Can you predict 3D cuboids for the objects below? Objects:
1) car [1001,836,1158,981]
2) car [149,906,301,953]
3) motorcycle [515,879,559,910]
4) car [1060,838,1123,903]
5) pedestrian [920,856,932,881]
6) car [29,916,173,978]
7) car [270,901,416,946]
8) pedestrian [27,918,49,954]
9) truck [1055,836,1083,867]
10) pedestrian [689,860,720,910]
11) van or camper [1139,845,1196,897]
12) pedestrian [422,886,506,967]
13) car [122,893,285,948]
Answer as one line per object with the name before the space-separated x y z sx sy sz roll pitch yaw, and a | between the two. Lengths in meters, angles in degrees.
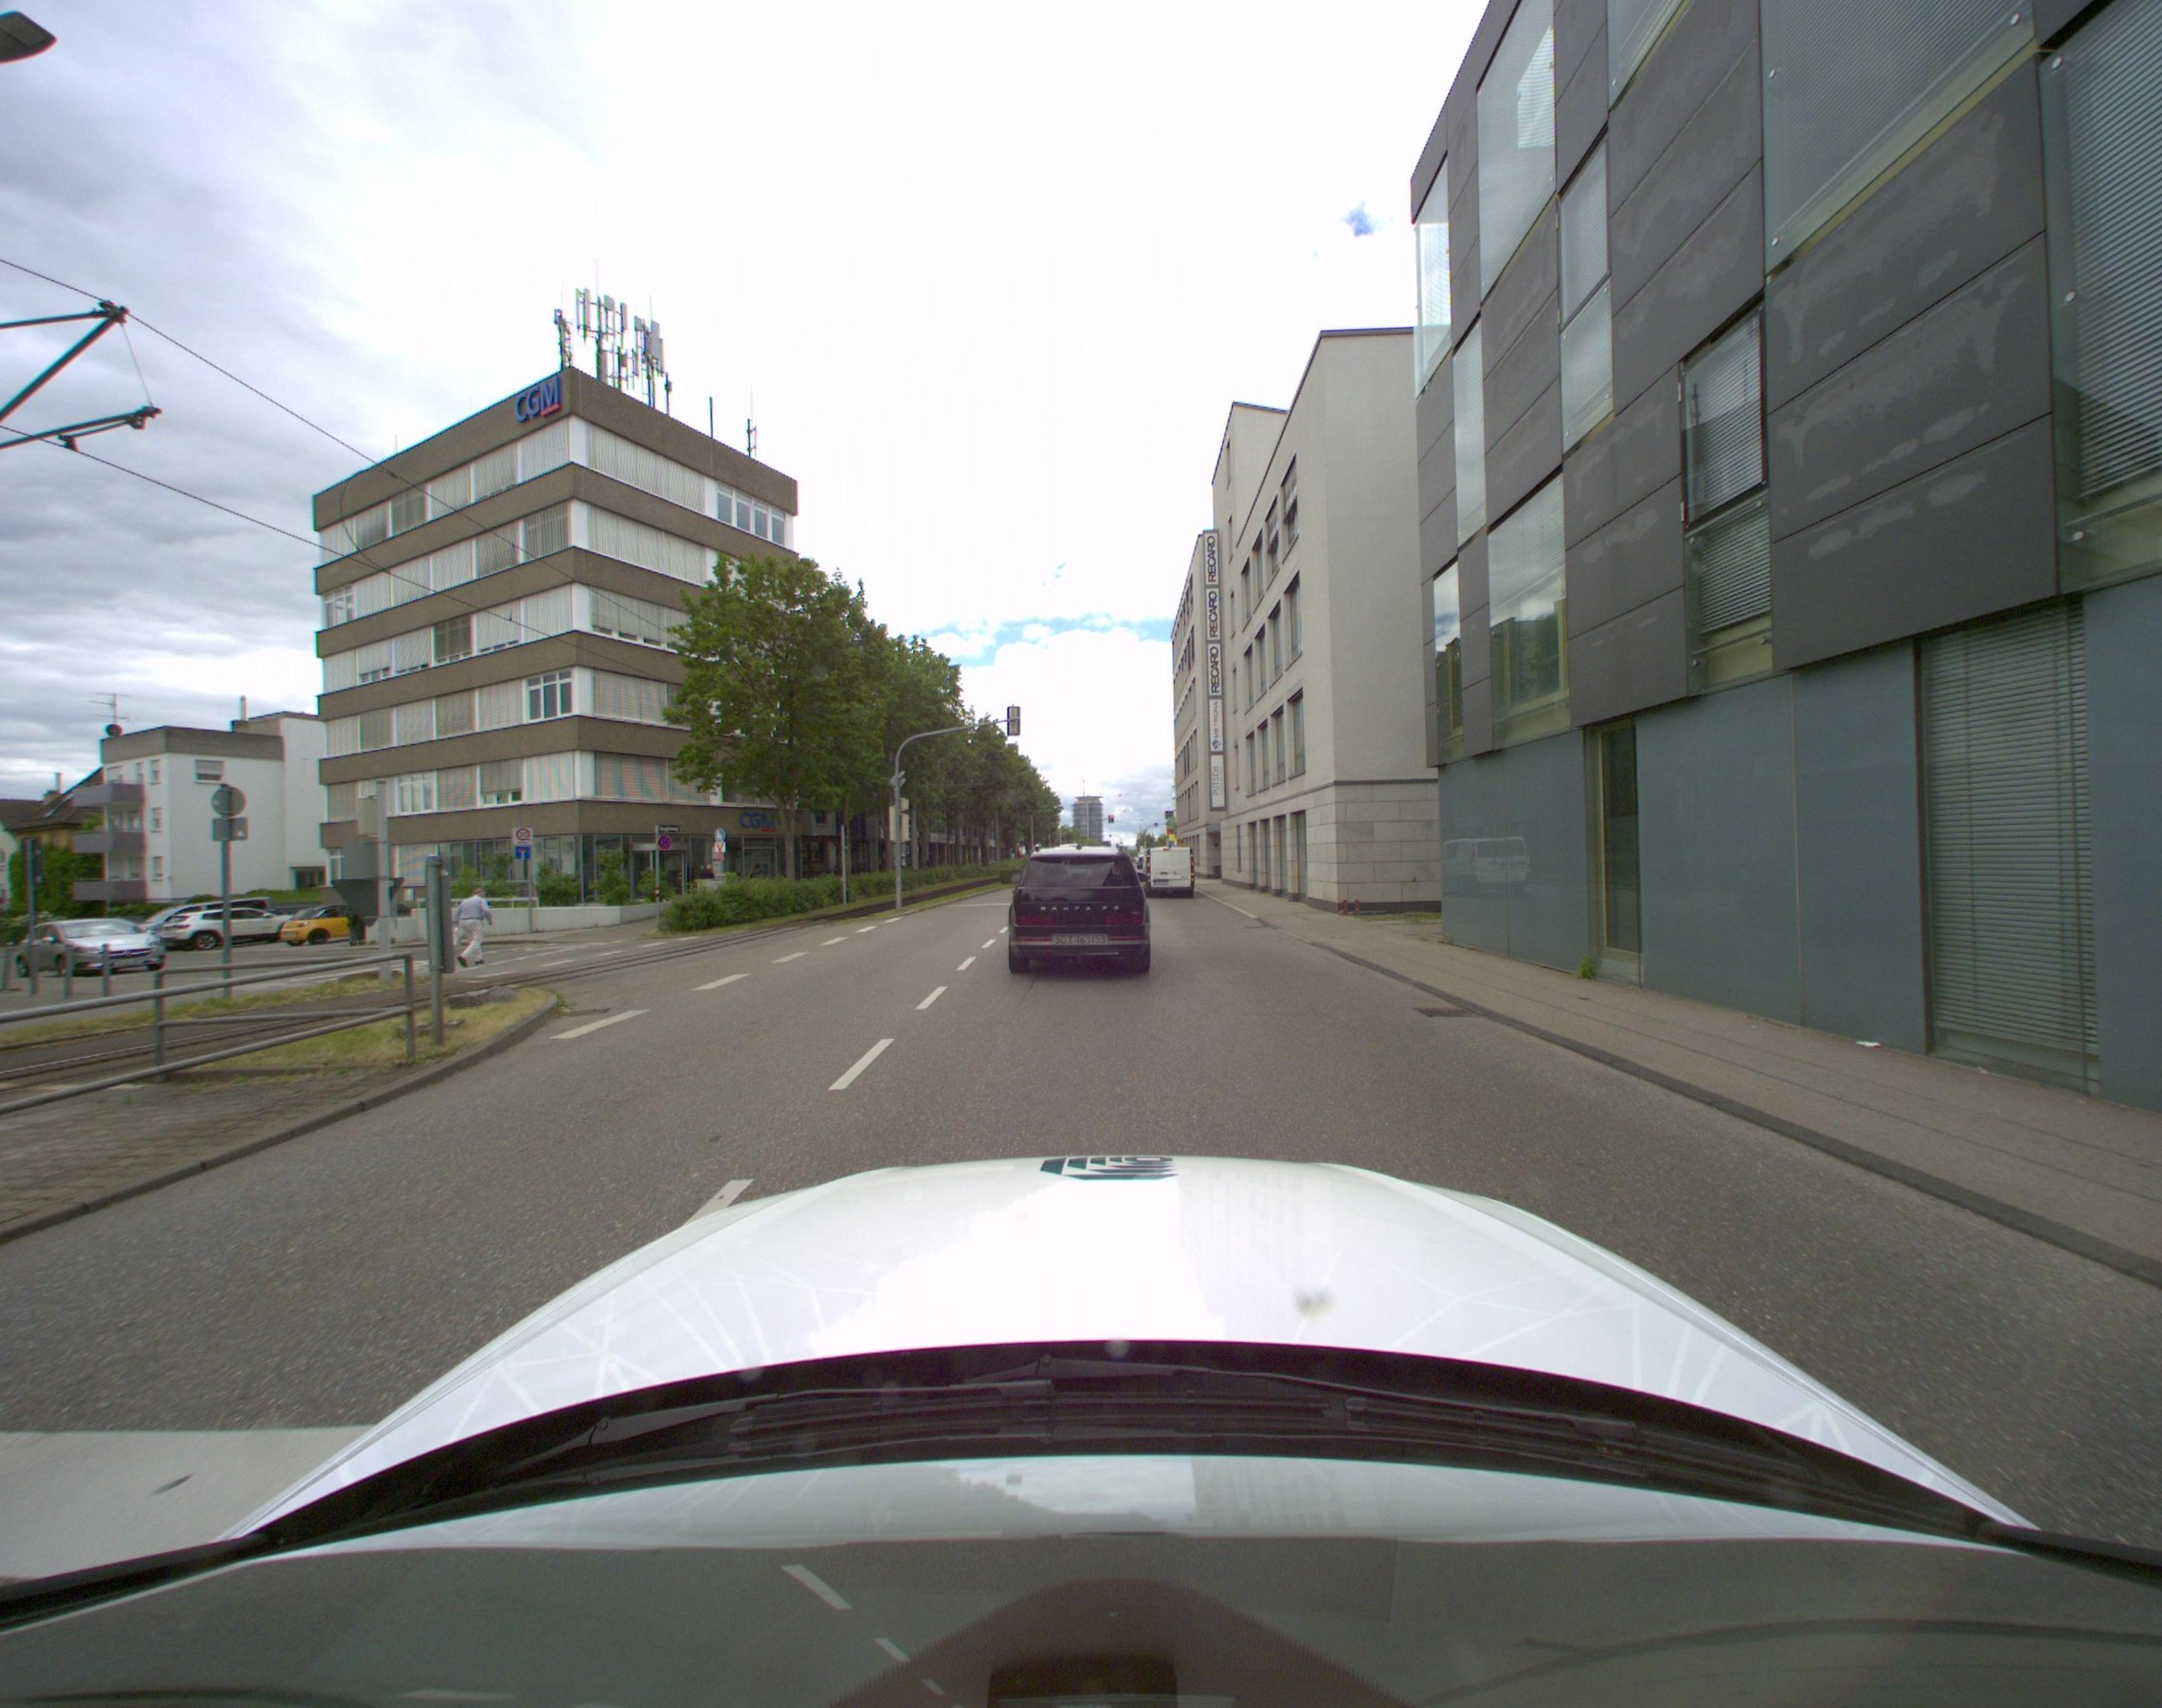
car | -0.089 0.673 12.140 1.904 1.749 4.393 0 0 -2
car | -36.312 3.155 34.694 1.832 1.574 4.022 -4 -1 23
motorcycle | -21.620 1.616 32.352 1.861 1.199 0.571 -2 0 27
car | 0.281 0.522 27.778 1.926 1.994 4.533 -2 0 -1
pedestrian | -11.895 1.105 62.592 0.672 1.908 0.622 -3 -1 2
car | -25.798 2.438 21.417 3.949 1.359 1.652 -4 -1 29
car | -30.002 2.802 33.240 1.710 1.425 4.022 -4 -1 23
pedestrian | -51.400 4.022 40.141 0.461 1.729 0.533 -2 0 25
truck | -1.002 -0.225 73.225 2.157 2.615 5.798 -2 0 2
pedestrian | -13.516 1.104 29.225 0.684 1.705 0.683 -3 -1 4
van or camper | 3.378 0.627 32.493 1.985 1.915 4.334 -1 0 2
pedestrian | -12.444 1.440 16.459 0.844 1.526 0.996 -3 -1 1
car | -40.324 3.000 37.589 1.832 2.068 4.713 -4 -1 23
